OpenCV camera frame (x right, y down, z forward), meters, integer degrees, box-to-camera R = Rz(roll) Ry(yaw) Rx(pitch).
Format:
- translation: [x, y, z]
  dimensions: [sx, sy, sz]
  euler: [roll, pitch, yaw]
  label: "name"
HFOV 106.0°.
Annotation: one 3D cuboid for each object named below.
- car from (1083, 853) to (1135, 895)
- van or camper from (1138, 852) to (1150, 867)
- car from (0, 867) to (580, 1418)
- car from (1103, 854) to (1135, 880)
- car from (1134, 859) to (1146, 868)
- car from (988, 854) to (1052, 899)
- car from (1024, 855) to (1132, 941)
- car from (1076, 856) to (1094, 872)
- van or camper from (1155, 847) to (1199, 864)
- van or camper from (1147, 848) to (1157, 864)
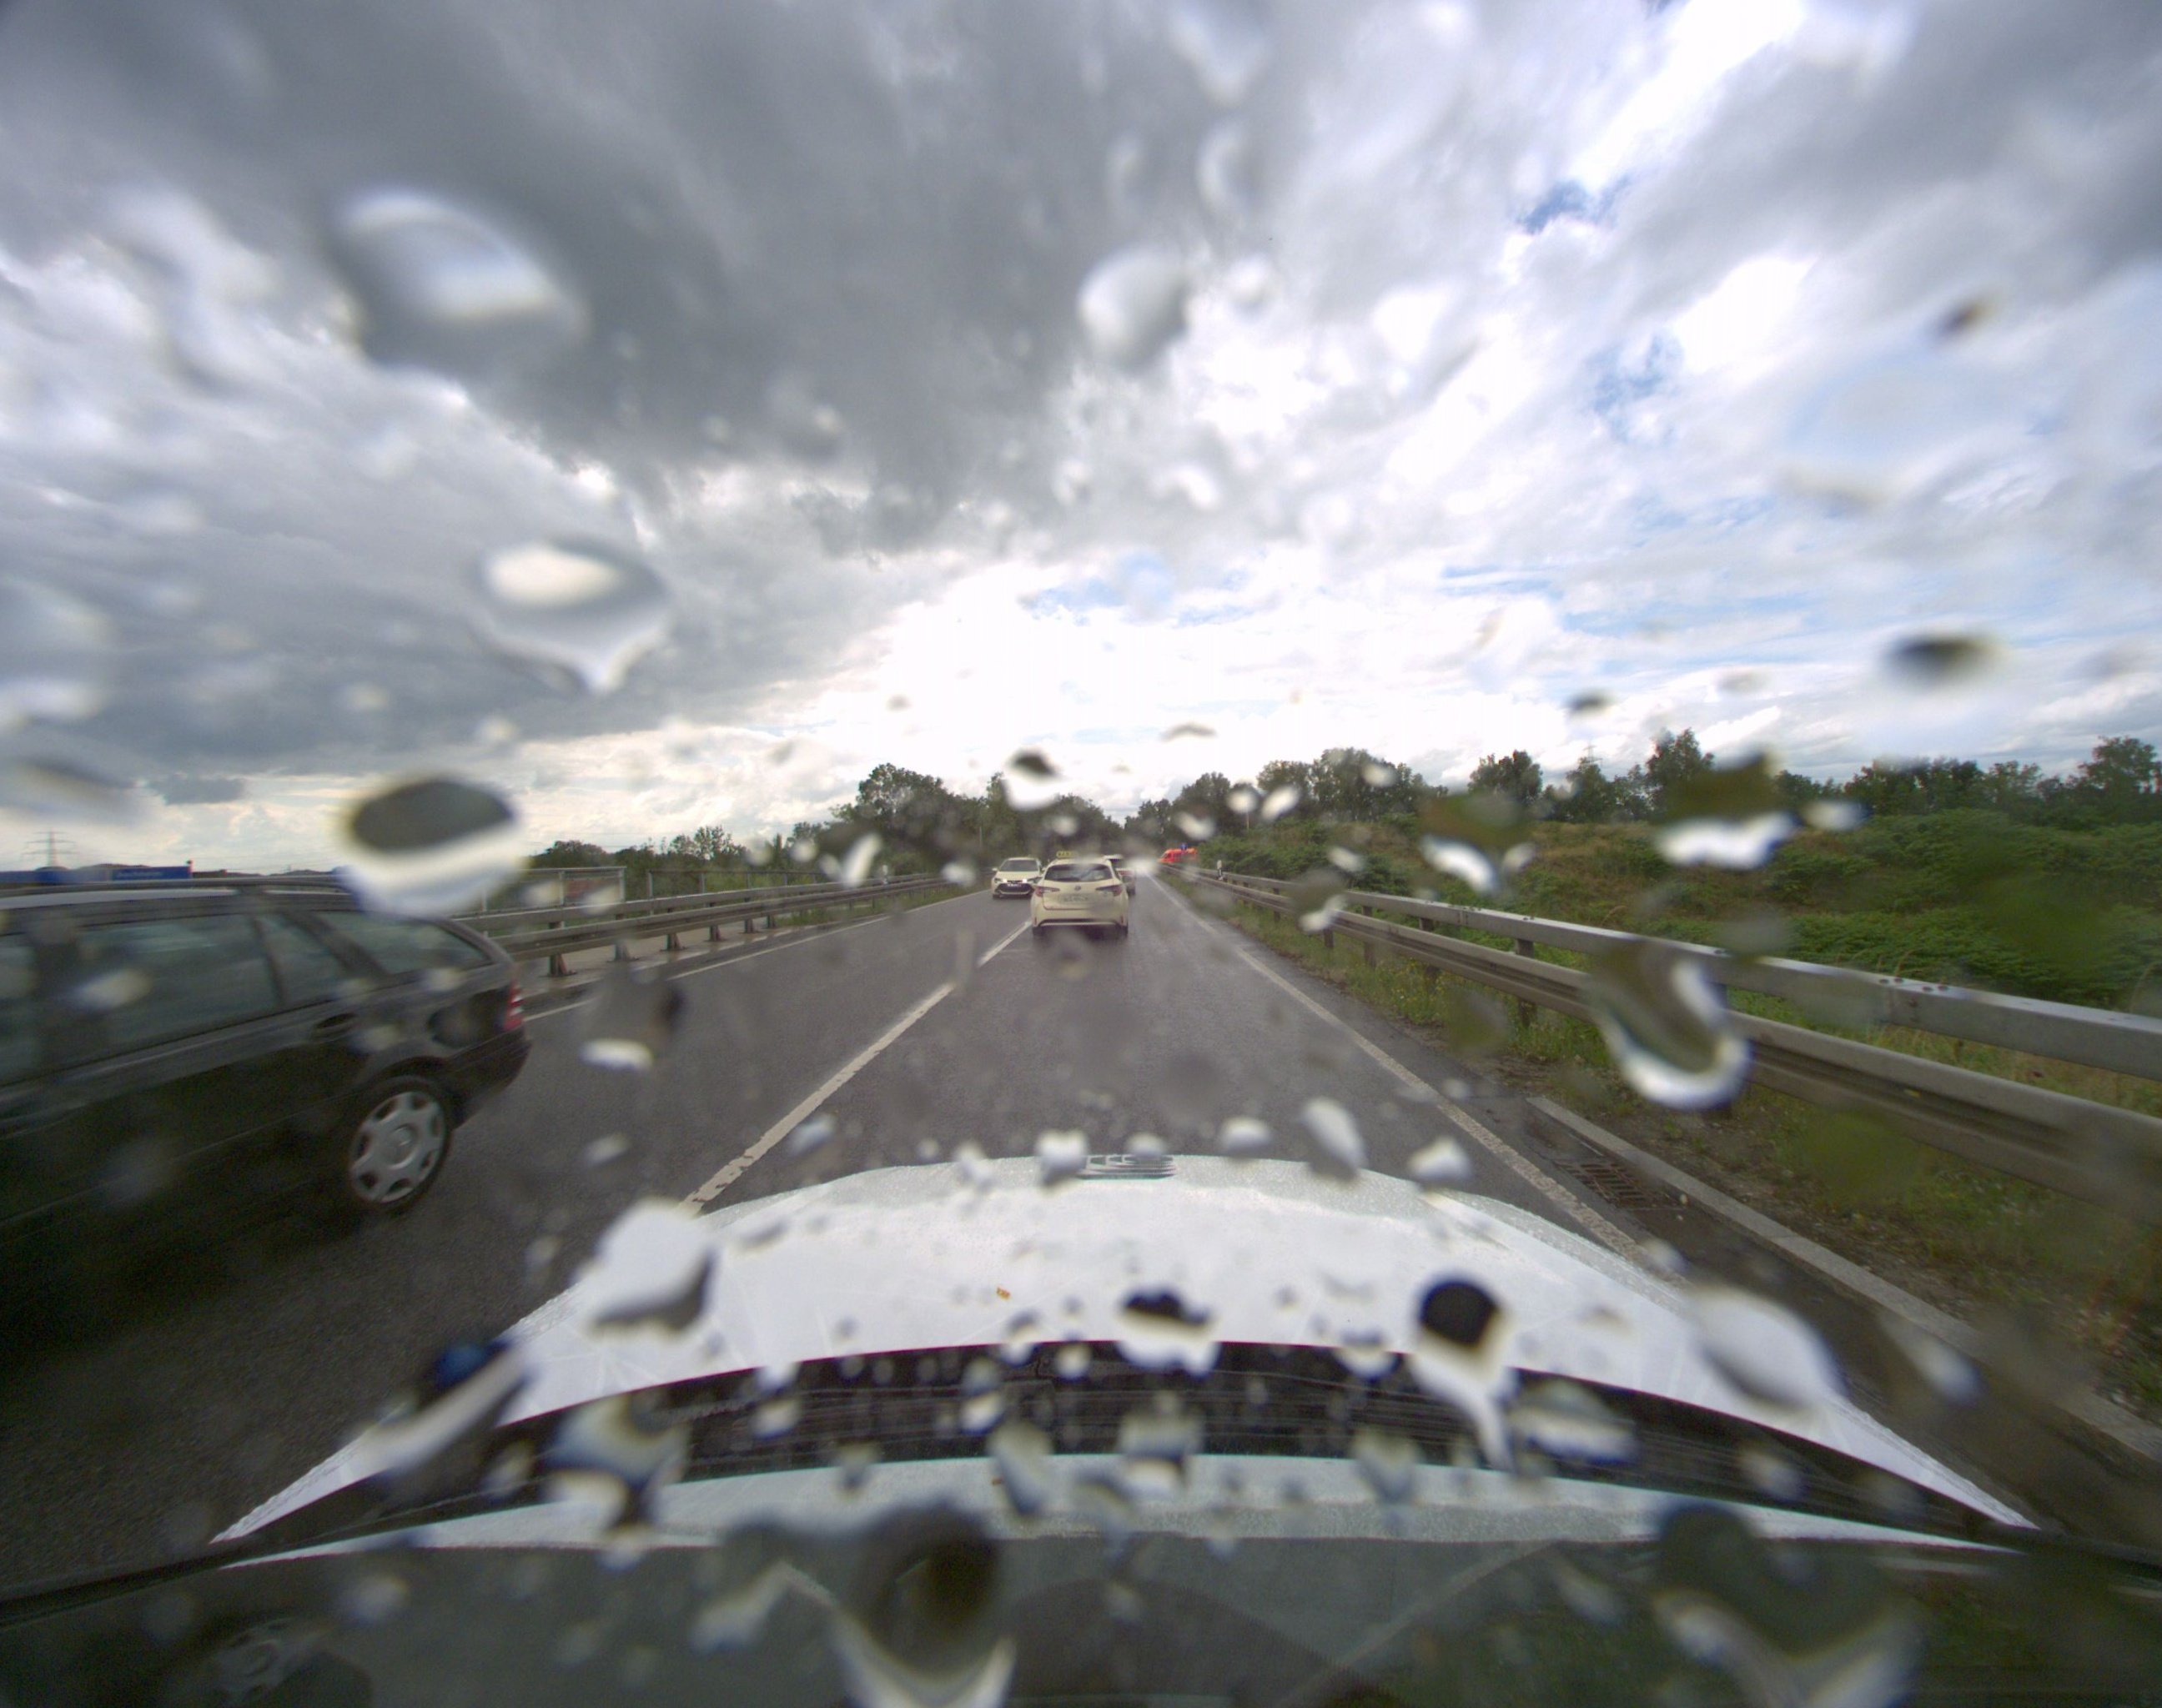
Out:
- translation: [1.086, 0.715, 31.034]
  dimensions: [1.847, 1.443, 4.173]
  euler: [-1, 1, 2]
  label: "car"
- translation: [12.927, 1.138, 167.441]
  dimensions: [2.322, 2.864, 6.313]
  euler: [-1, 0, 4]
  label: "van or camper"
- translation: [-3.750, 0.808, 2.444]
  dimensions: [1.690, 1.432, 4.325]
  euler: [-1, 0, 2]
  label: "car"
- translation: [2.289, 0.748, 49.275]
  dimensions: [1.847, 1.443, 4.173]
  euler: [-1, 1, 2]
  label: "car"
- translation: [10.449, 1.641, 144.260]
  dimensions: [1.845, 1.443, 4.178]
  euler: [-1, 0, 6]
  label: "car"
- translation: [-2.175, 0.772, 30.161]
  dimensions: [1.803, 1.509, 4.614]
  euler: [-1, 0, 2]
  label: "car"
- translation: [0.032, 0.761, 16.138]
  dimensions: [1.847, 1.394, 4.173]
  euler: [-1, 1, 2]
  label: "car"
- translation: [0.437, 1.054, 85.647]
  dimensions: [1.772, 1.561, 4.304]
  euler: [-1, 0, 2]
  label: "car"
- translation: [13.286, 0.139, 112.451]
  dimensions: [5.683, 2.241, 2.012]
  euler: [-1, 0, -12]
  label: "van or camper"
- translation: [17.163, 0.459, 196.774]
  dimensions: [2.322, 3.562, 6.313]
  euler: [-1, 0, 4]
  label: "van or camper"
